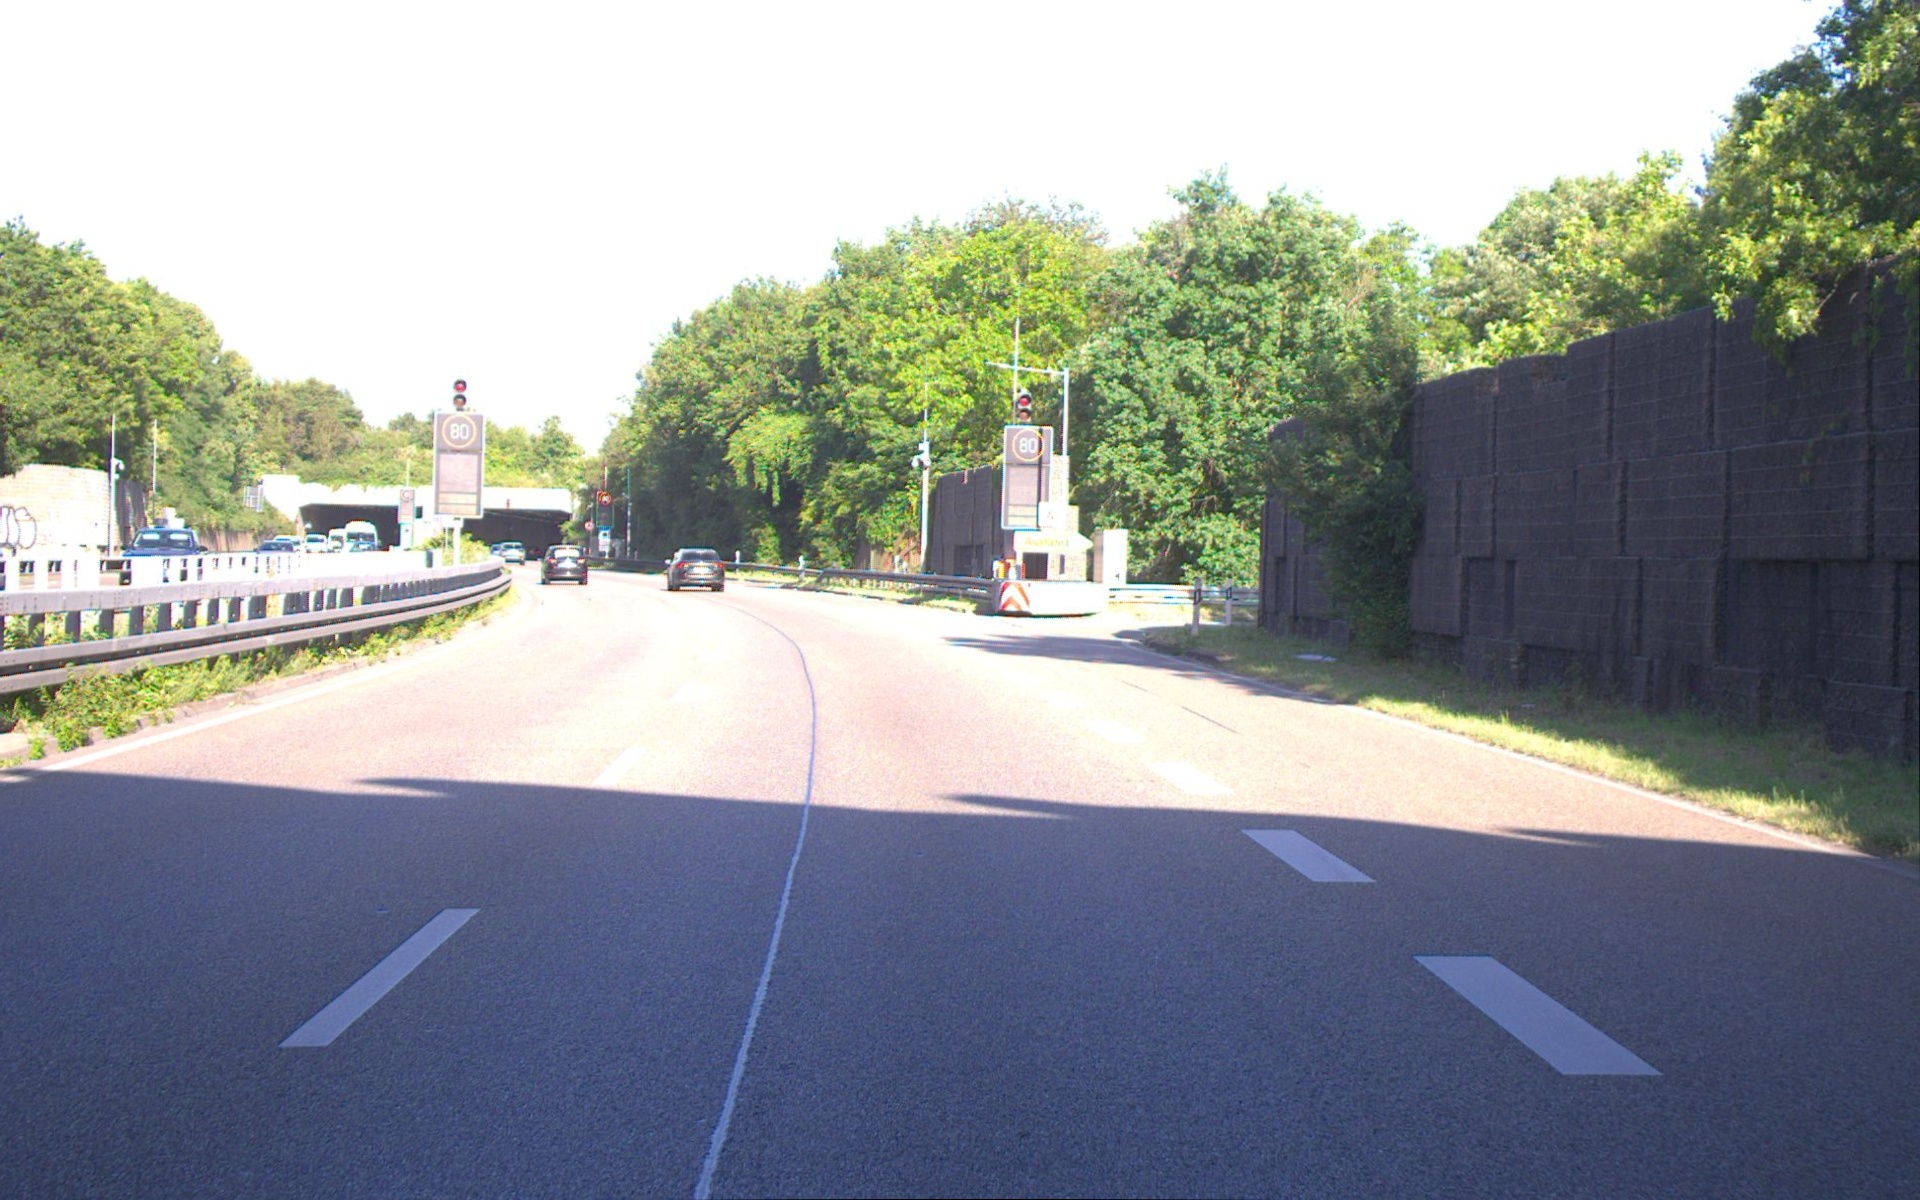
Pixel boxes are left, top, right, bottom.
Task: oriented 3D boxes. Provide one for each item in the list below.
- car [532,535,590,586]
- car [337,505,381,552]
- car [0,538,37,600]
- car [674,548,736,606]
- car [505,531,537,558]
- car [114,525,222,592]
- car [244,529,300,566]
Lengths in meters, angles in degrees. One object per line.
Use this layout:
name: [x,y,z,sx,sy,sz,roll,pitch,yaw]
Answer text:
car: [-16.024,-1.611,138.375,1.993,1.919,4.001,2,1,-3]
car: [-36.605,-4.376,209.442,2.120,2.674,6.590,3,1,-6]
car: [-23.563,-0.753,82.586,1.897,1.417,4.135,0,1,-4]
car: [-8.881,-0.815,119.860,1.993,1.919,4.001,2,1,-3]
car: [-32.323,-4.084,253.081,1.993,1.919,4.001,2,1,-11]
car: [-20.436,-1.100,88.893,1.897,1.568,4.809,3,1,-4]
car: [-30.259,-2.317,151.309,1.993,1.475,4.536,3,1,-6]
